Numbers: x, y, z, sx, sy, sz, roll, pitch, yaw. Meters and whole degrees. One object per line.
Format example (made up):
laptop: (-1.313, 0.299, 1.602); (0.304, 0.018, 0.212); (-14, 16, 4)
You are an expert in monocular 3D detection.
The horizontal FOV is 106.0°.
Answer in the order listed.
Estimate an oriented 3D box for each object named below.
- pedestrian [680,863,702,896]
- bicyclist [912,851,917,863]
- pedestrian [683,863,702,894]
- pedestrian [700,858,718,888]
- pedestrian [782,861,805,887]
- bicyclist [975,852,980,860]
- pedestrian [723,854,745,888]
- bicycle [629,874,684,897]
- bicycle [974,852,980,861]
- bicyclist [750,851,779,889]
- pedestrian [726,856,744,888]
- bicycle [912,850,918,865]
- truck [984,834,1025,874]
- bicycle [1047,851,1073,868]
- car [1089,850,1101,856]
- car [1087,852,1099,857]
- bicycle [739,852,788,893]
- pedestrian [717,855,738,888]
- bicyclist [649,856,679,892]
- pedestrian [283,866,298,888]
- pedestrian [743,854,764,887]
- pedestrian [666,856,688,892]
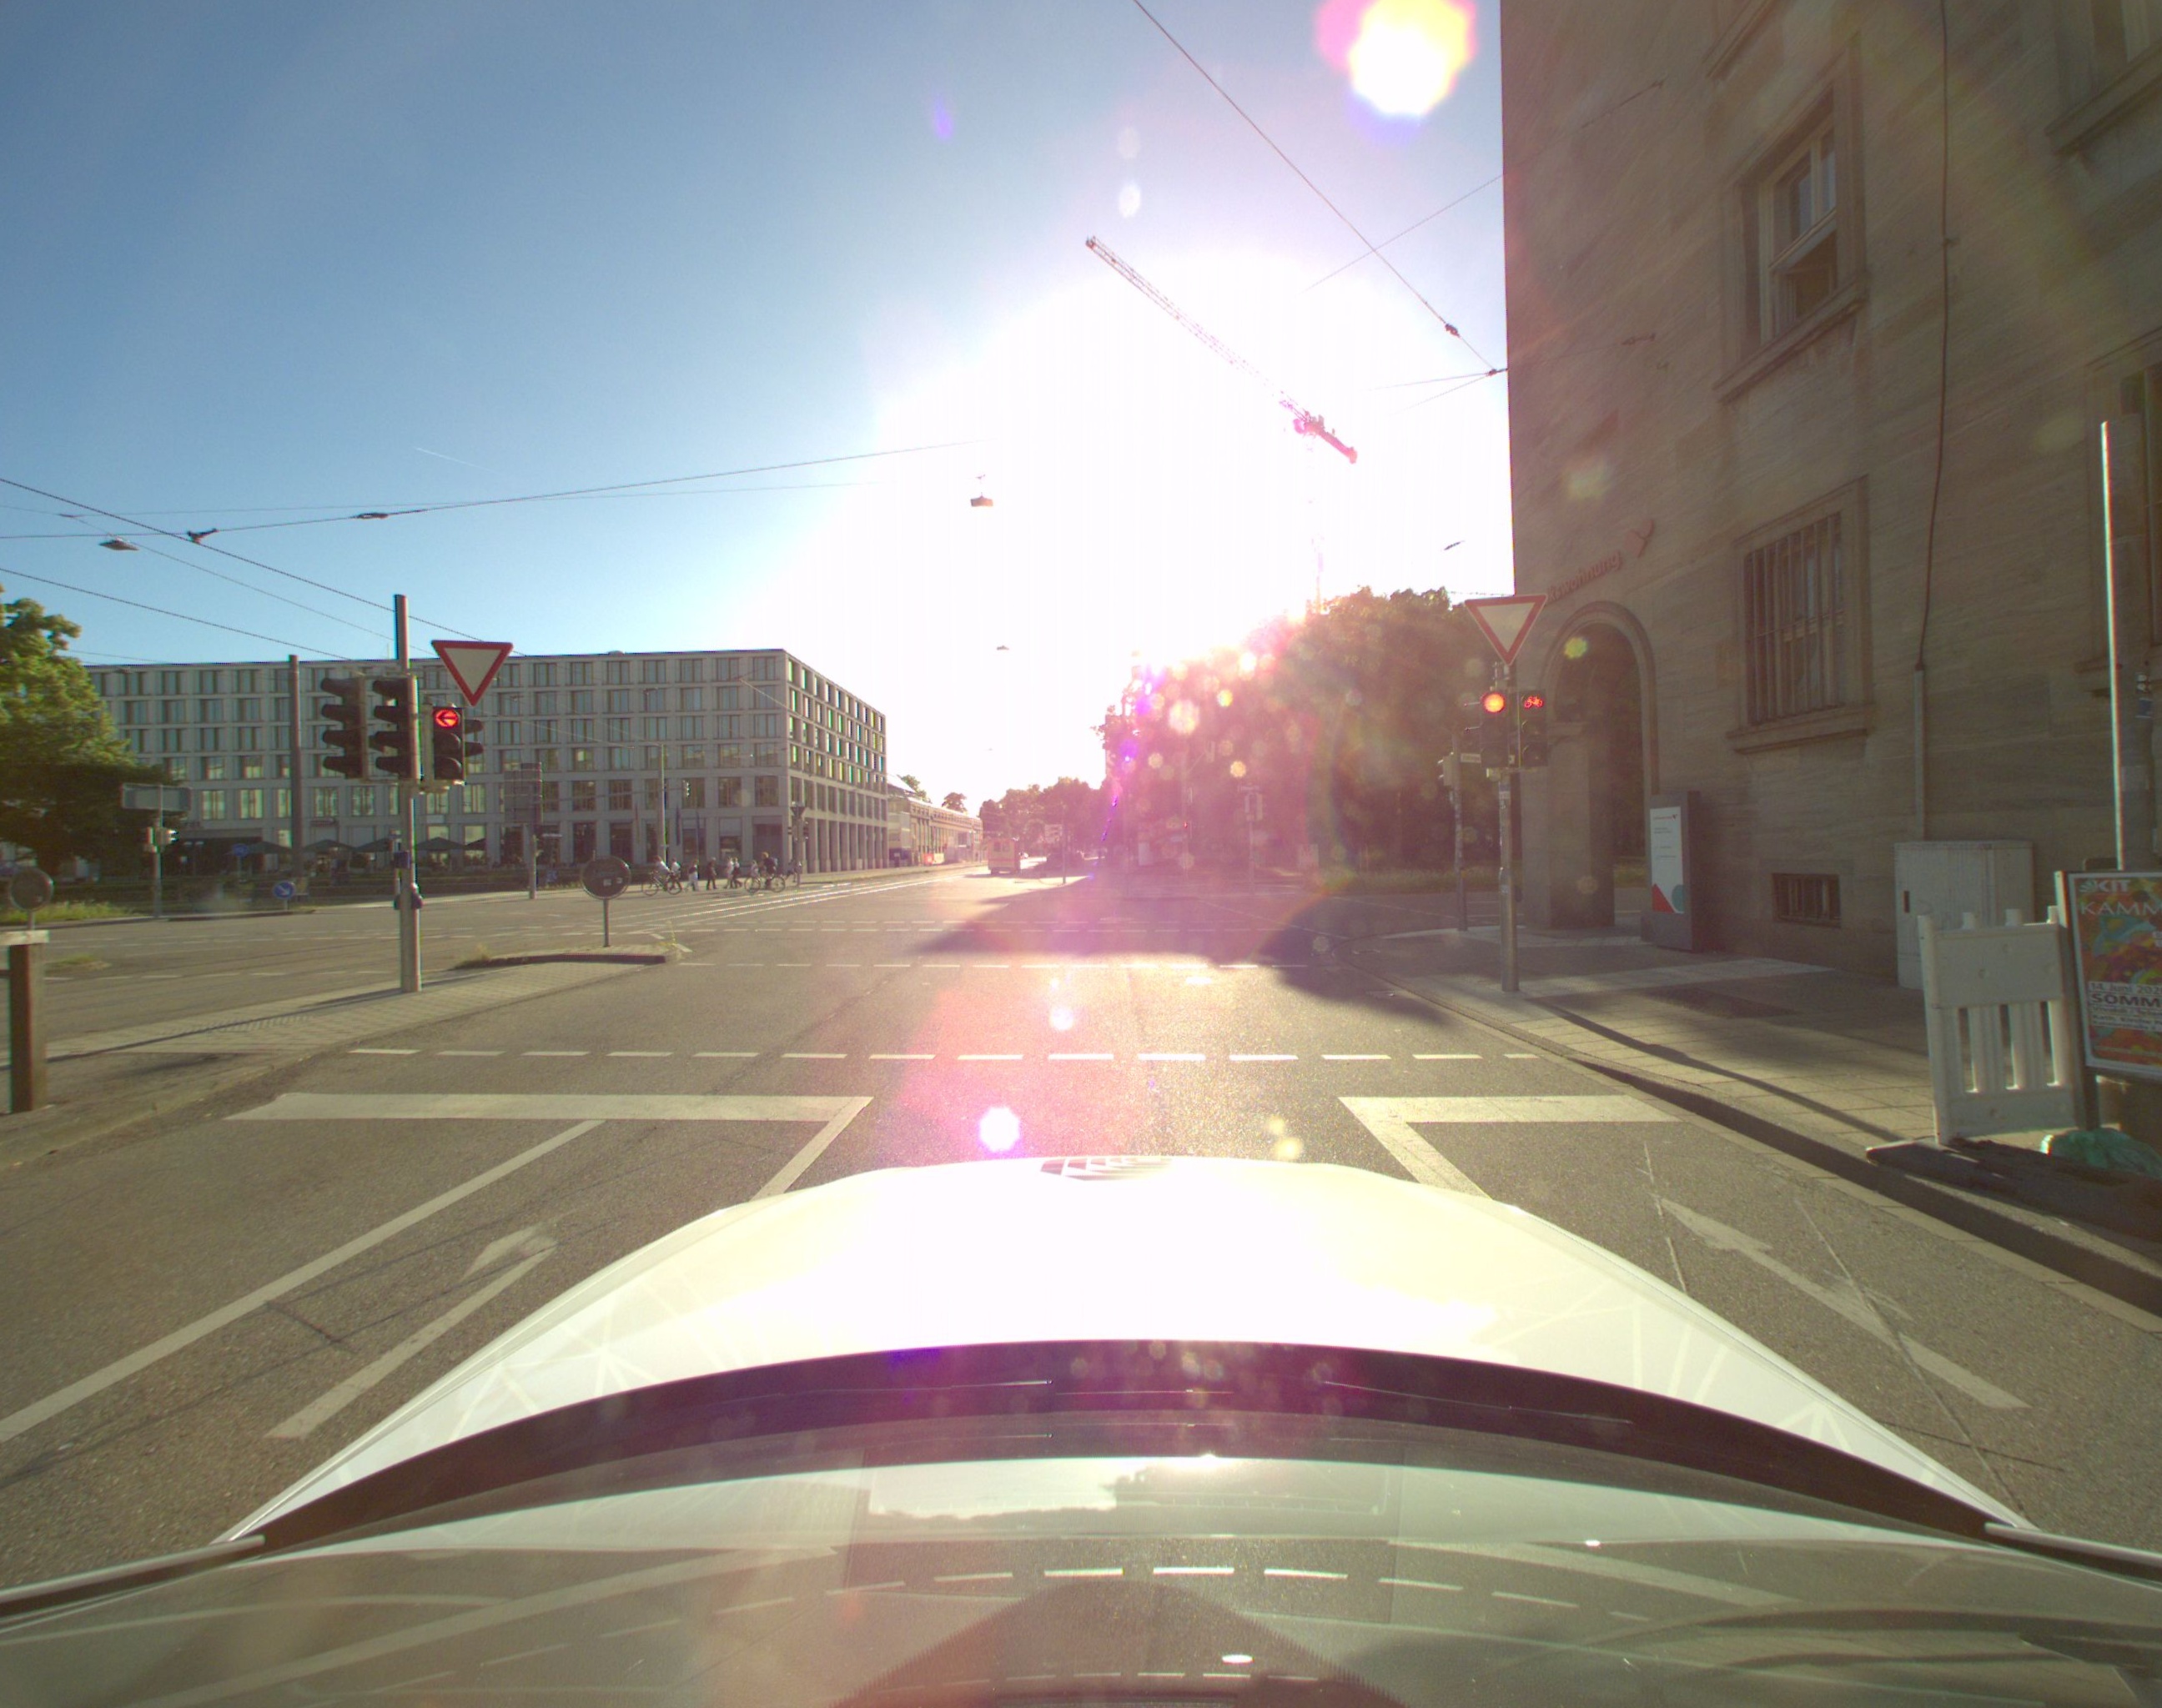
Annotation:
pedestrian: (-20.272, 1.312, 42.369); (0.790, 1.644, 0.621); (-2, 0, -3)
bicyclist: (-26.730, 0.466, 131.036); (0.569, 2.024, 0.762); (-2, 0, 0)
pedestrian: (-21.322, 1.346, 44.698); (0.692, 1.644, 0.621); (-2, 0, -2)
pedestrian: (-21.005, 1.057, 45.977); (0.690, 1.644, 0.623); (-2, 0, 8)
pedestrian: (-15.136, 1.025, 42.877); (0.993, 1.317, 0.765); (-2, 0, -7)
bicyclist: (-18.681, 0.389, 146.909); (0.687, 1.328, 1.001); (0, -1, 2)
pedestrian: (-18.848, 0.931, 44.251); (0.865, 1.803, 0.665); (-2, 0, 7)
bicycle: (-18.738, 1.371, 36.003); (2.061, 0.933, 0.574); (-2, 0, -5)
bicycle: (-18.730, 0.490, 146.840); (0.687, 1.511, 2.946); (0, -1, 2)
bicyclist: (-13.864, 0.703, 35.669); (1.075, 1.641, 0.595); (-2, 0, -12)
pedestrian: (-19.882, 1.034, 46.821); (0.735, 1.803, 0.533); (-2, 0, 7)
bicycle: (-26.721, 0.581, 131.022); (0.569, 2.296, 1.422); (-2, 0, 0)
truck: (-5.981, 0.004, 64.418); (2.709, 3.016, 6.486); (-1, 0, -1)
bicycle: (-2.084, 0.541, 81.615); (2.538, 1.743, 1.038); (0, -1, 1)
car: (3.661, -0.160, 213.652); (3.207, 1.588, 1.445); (0, -1, -3)
car: (3.117, 0.049, 211.297); (3.207, 1.263, 1.373); (0, -1, 0)
bicycle: (-13.891, 0.807, 35.668); (1.898, 1.735, 0.594); (-2, 0, -12)
pedestrian: (-19.759, 0.997, 45.530); (0.735, 1.803, 0.717); (-2, 0, 7)
bicyclist: (-18.446, 0.887, 36.025); (0.973, 1.560, 0.574); (-2, 0, -4)
pedestrian: (-60.040, 1.714, 61.850); (0.538, 1.669, 0.561); (0, -1, -2)
pedestrian: (-18.279, 0.924, 45.443); (0.865, 1.803, 0.533); (-2, 0, 7)
pedestrian: (-21.709, 1.061, 43.723); (0.797, 1.918, 0.638); (-2, 0, 7)
